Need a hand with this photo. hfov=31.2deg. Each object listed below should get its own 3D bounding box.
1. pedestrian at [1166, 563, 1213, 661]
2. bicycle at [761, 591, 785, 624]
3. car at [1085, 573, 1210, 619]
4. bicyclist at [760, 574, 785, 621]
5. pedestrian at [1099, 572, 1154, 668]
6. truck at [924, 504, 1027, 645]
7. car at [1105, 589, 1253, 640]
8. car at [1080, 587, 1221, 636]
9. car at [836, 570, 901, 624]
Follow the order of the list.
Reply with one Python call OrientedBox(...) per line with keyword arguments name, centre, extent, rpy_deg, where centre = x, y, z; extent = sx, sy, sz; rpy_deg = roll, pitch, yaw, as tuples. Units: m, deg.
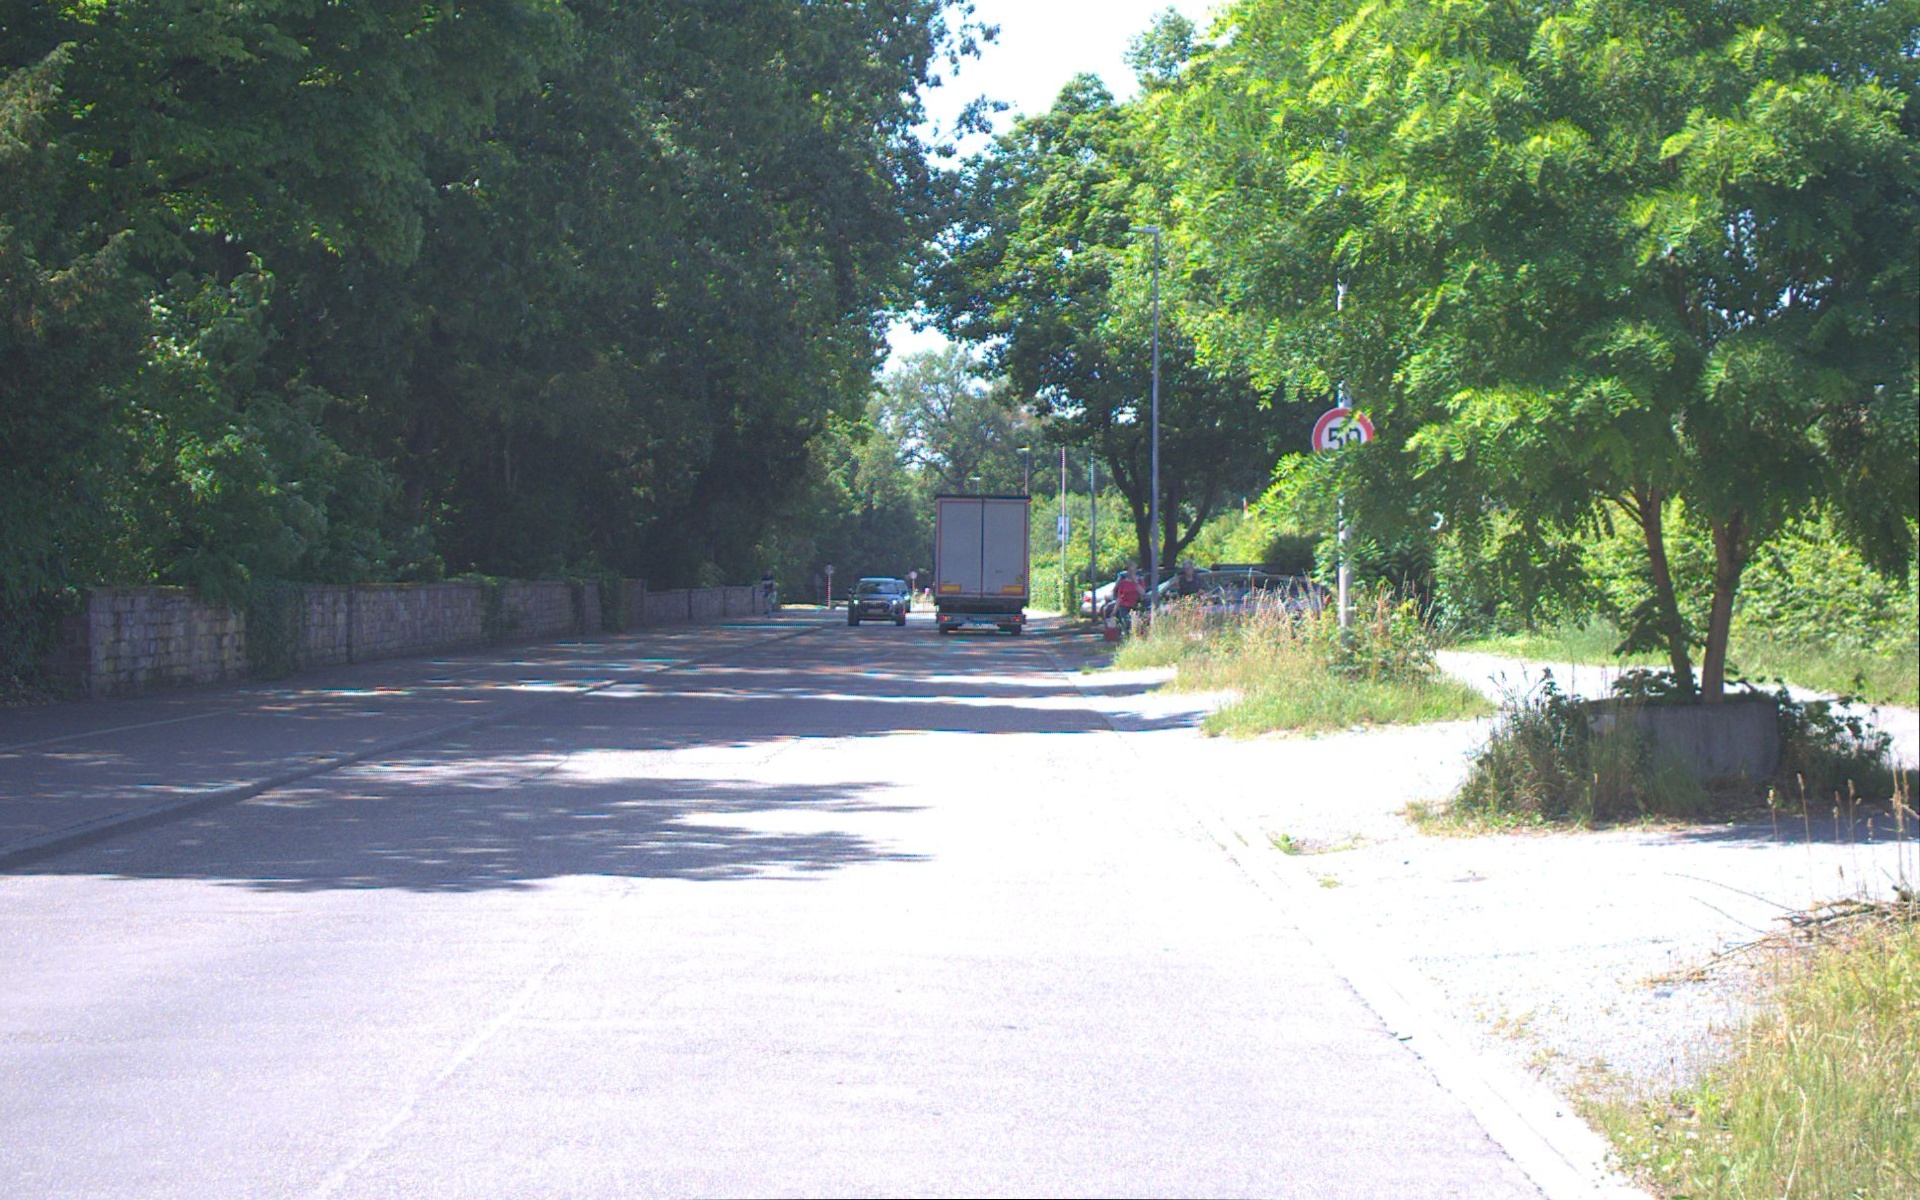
OrientedBox(name="pedestrian", centre=(4.152, 0.207, 62.335), extent=(0.739, 1.732, 0.886), rpy_deg=(-1, 1, -1))
OrientedBox(name="bicycle", centre=(-7.042, 0.272, 129.336), extent=(0.718, 1.155, 2.230), rpy_deg=(-1, 1, 1))
OrientedBox(name="car", centre=(6.402, -0.139, 117.727), extent=(4.196, 1.440, 1.739), rpy_deg=(-1, 1, 1))
OrientedBox(name="bicyclist", centre=(-7.051, -0.101, 129.312), extent=(0.832, 1.710, 0.957), rpy_deg=(-1, 1, 1))
OrientedBox(name="pedestrian", centre=(2.961, 0.348, 61.197), extent=(0.863, 1.671, 0.886), rpy_deg=(-1, 1, -1))
OrientedBox(name="truck", centre=(0.481, -0.805, 98.038), extent=(2.733, 3.733, 13.246), rpy_deg=(0, 1, 1))
OrientedBox(name="car", centre=(6.328, 0.414, 99.534), extent=(4.196, 1.440, 1.738), rpy_deg=(0, 0, 1))
OrientedBox(name="car", centre=(5.741, 0.336, 103.896), extent=(4.196, 1.440, 1.738), rpy_deg=(0, 0, 1))
OrientedBox(name="car", centre=(-3.048, -0.131, 115.182), extent=(1.993, 1.678, 4.262), rpy_deg=(-1, 1, 1))
